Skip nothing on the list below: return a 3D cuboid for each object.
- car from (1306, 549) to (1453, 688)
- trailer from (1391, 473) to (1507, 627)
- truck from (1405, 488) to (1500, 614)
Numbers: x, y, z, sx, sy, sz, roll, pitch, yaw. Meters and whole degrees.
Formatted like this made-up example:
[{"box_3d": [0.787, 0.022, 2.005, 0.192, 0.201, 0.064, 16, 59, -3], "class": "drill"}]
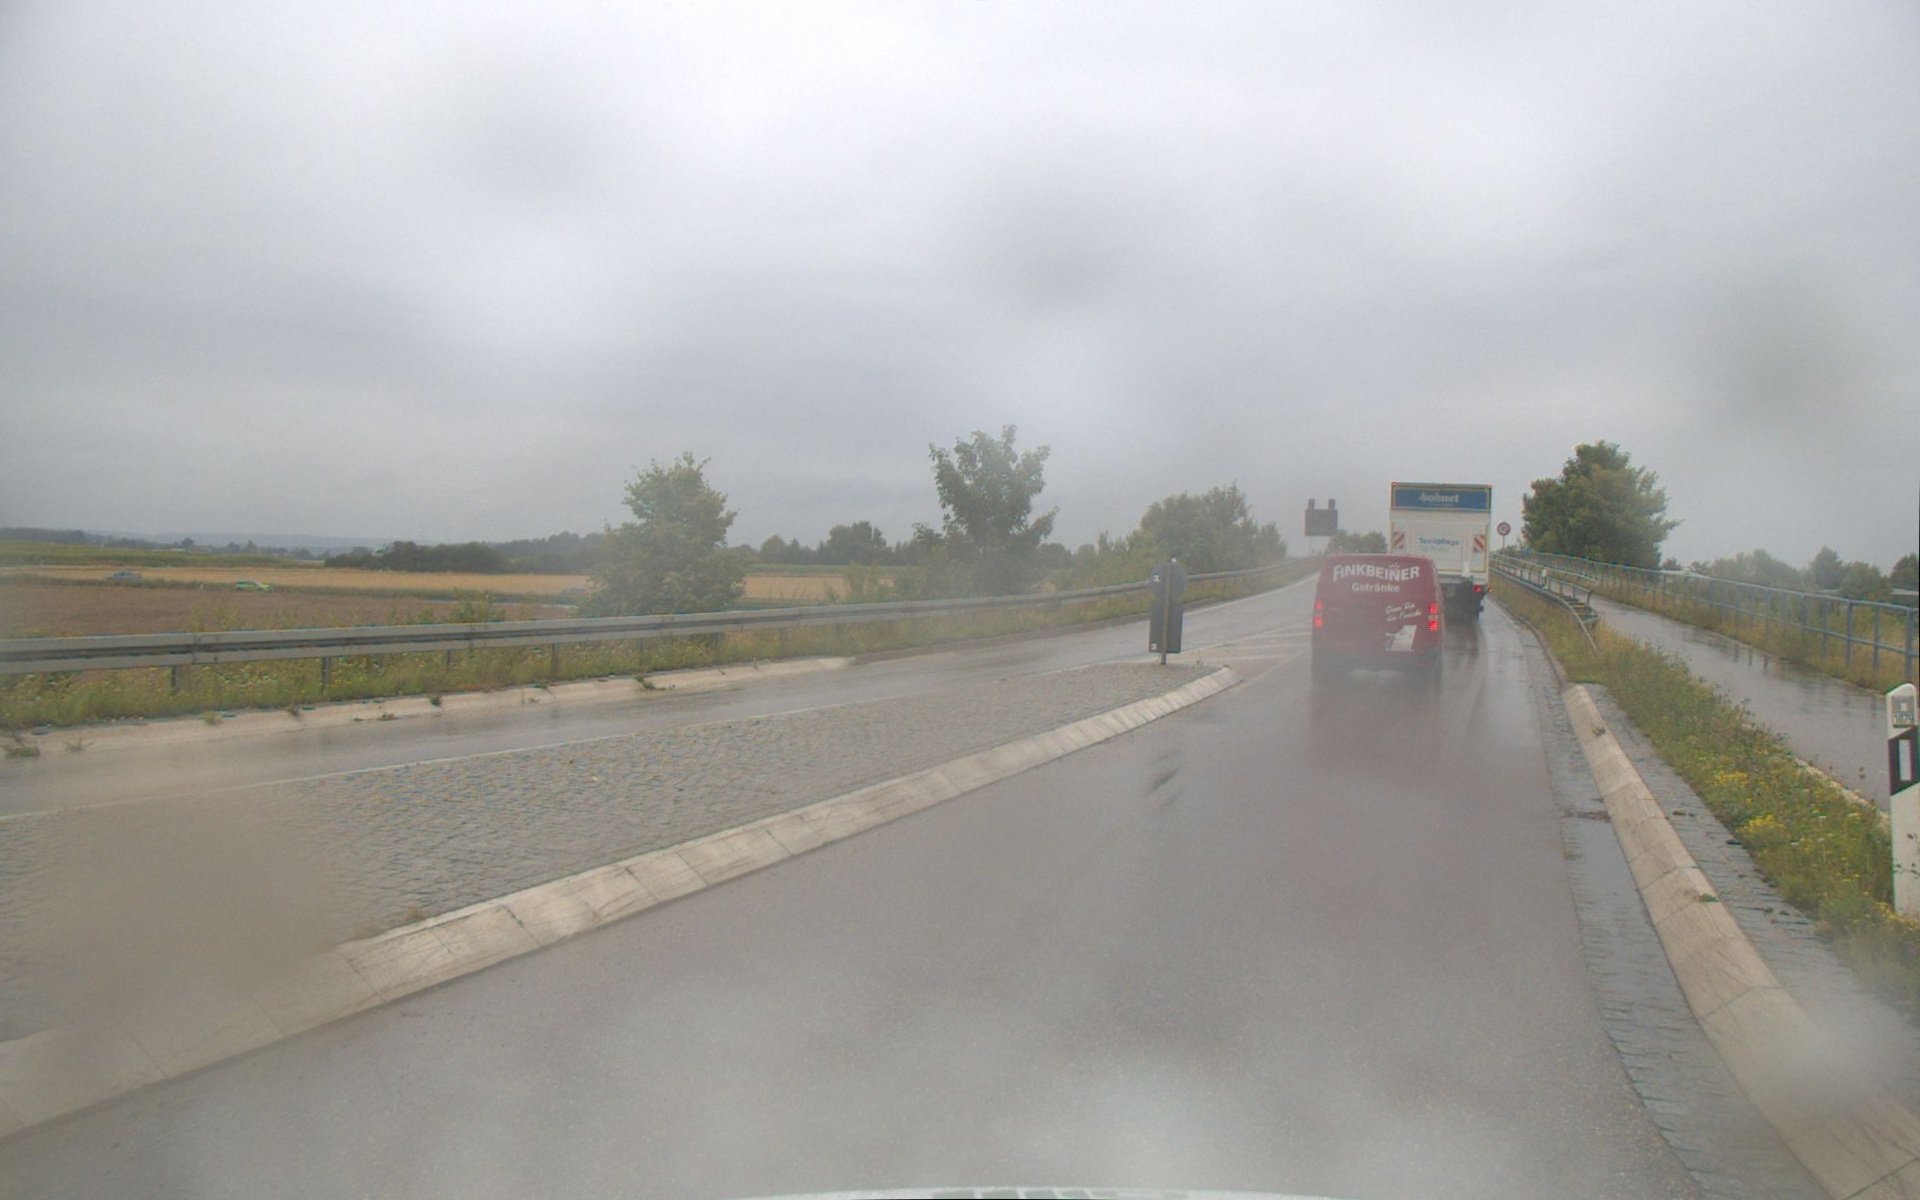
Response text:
[{"box_3d": [6.563, 0.175, 25.515, 1.951, 1.902, 4.982, 1, 2, 17], "class": "car"}, {"box_3d": [13.816, -1.401, 46.635, 2.772, 3.885, 9.721, 1, 2, 17], "class": "trailer"}, {"box_3d": [16.389, -1.620, 54.946, 2.741, 3.885, 7.694, 1, 2, 17], "class": "truck"}]
